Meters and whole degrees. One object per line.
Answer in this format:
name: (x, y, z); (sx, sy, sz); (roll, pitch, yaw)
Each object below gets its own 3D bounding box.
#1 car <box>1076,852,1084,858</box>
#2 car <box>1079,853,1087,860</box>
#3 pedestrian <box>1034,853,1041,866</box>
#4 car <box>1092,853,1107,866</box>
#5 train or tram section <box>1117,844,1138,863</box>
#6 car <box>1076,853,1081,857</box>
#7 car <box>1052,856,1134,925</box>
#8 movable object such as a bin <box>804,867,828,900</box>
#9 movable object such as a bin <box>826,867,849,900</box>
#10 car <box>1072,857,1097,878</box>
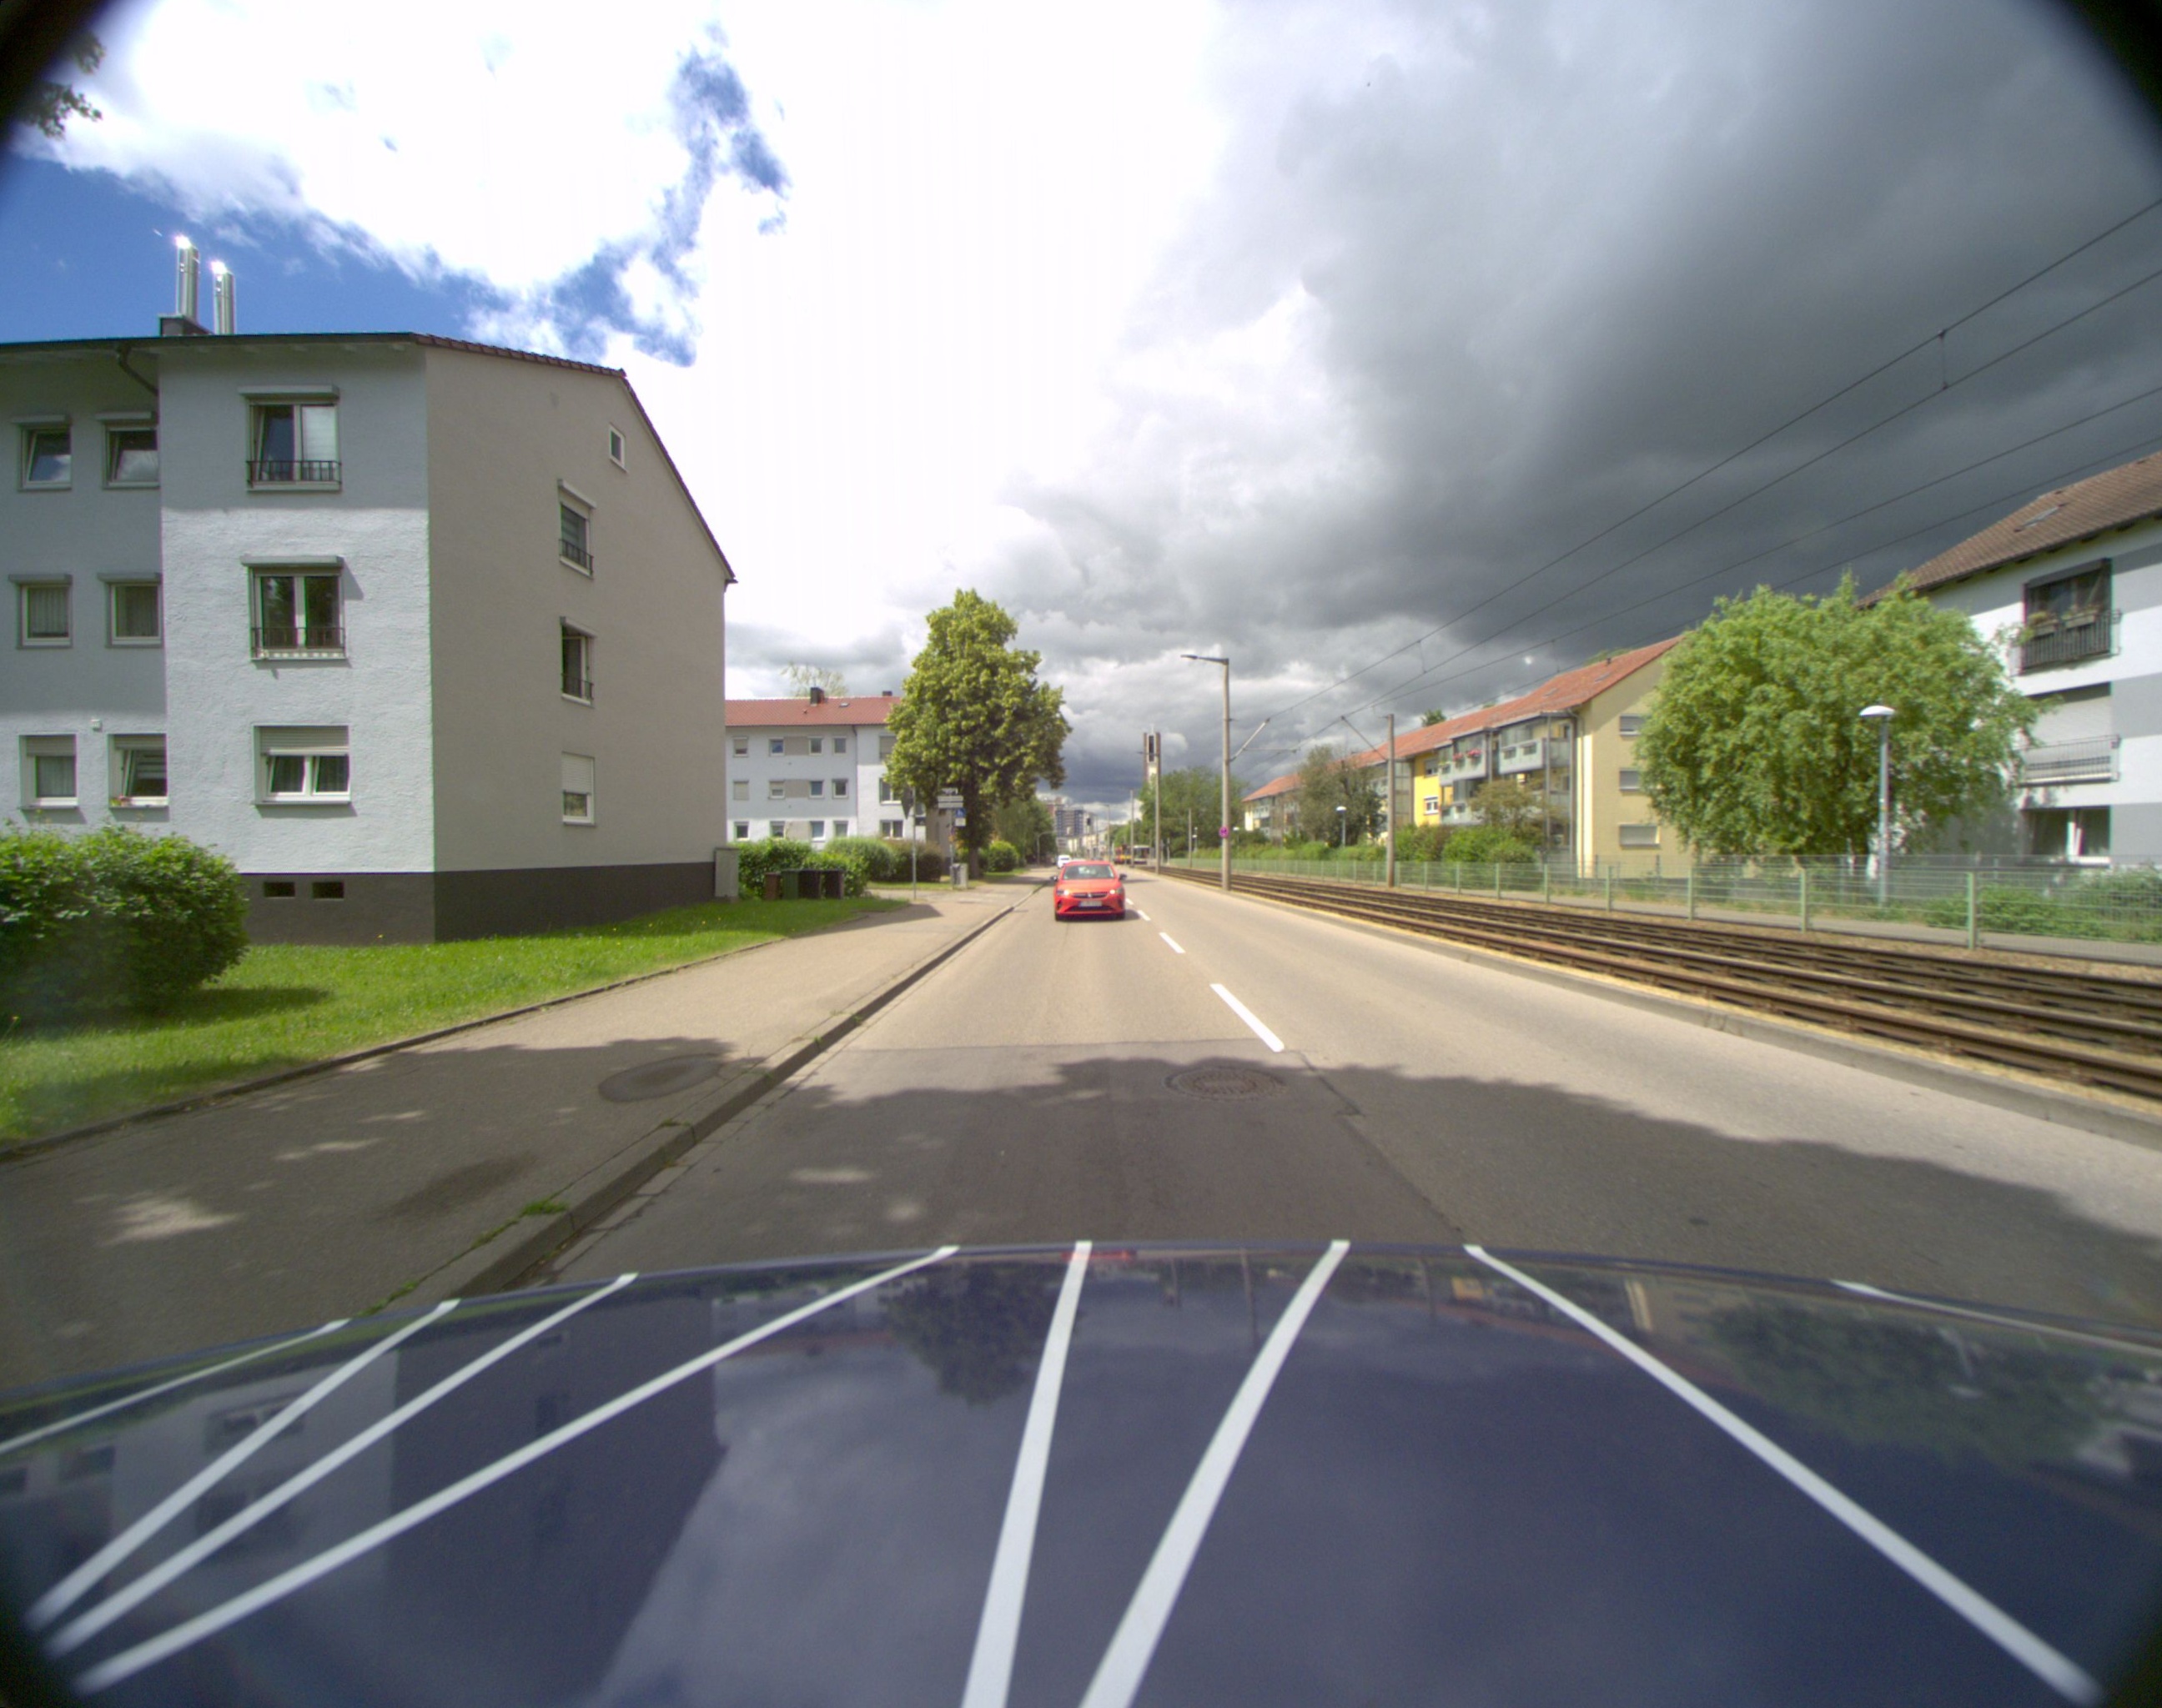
car: (-0.285, 0.255, 192.774); (1.765, 1.543, 3.999); (-1, 0, -3)
car: (0.421, 0.508, 170.571); (1.633, 1.424, 4.166); (-2, 0, -3)
pedestrian: (-6.107, 0.783, 107.678); (0.811, 1.761, 0.817); (2, 1, 5)
car: (2.265, 0.636, 93.802); (1.628, 1.516, 3.581); (-1, 0, 0)
train or tram section: (9.945, -0.194, 165.960); (2.988, 3.840, 18.534); (-2, 0, -1)
car: (-0.860, 0.233, 262.239); (1.722, 1.433, 4.008); (-1, 0, -2)
car: (0.282, 0.805, 18.750); (1.756, 1.433, 4.226); (-1, 0, 0)
movable object such as a bin: (-7.759, 0.864, 22.287); (0.501, 0.941, 0.551); (1, 1, 0)
movable object such as a bin: (-7.171, 0.861, 22.401); (0.497, 0.949, 0.580); (1, 1, 0)
car: (0.275, 0.960, 55.685); (1.756, 1.433, 4.226); (-1, 0, 0)
